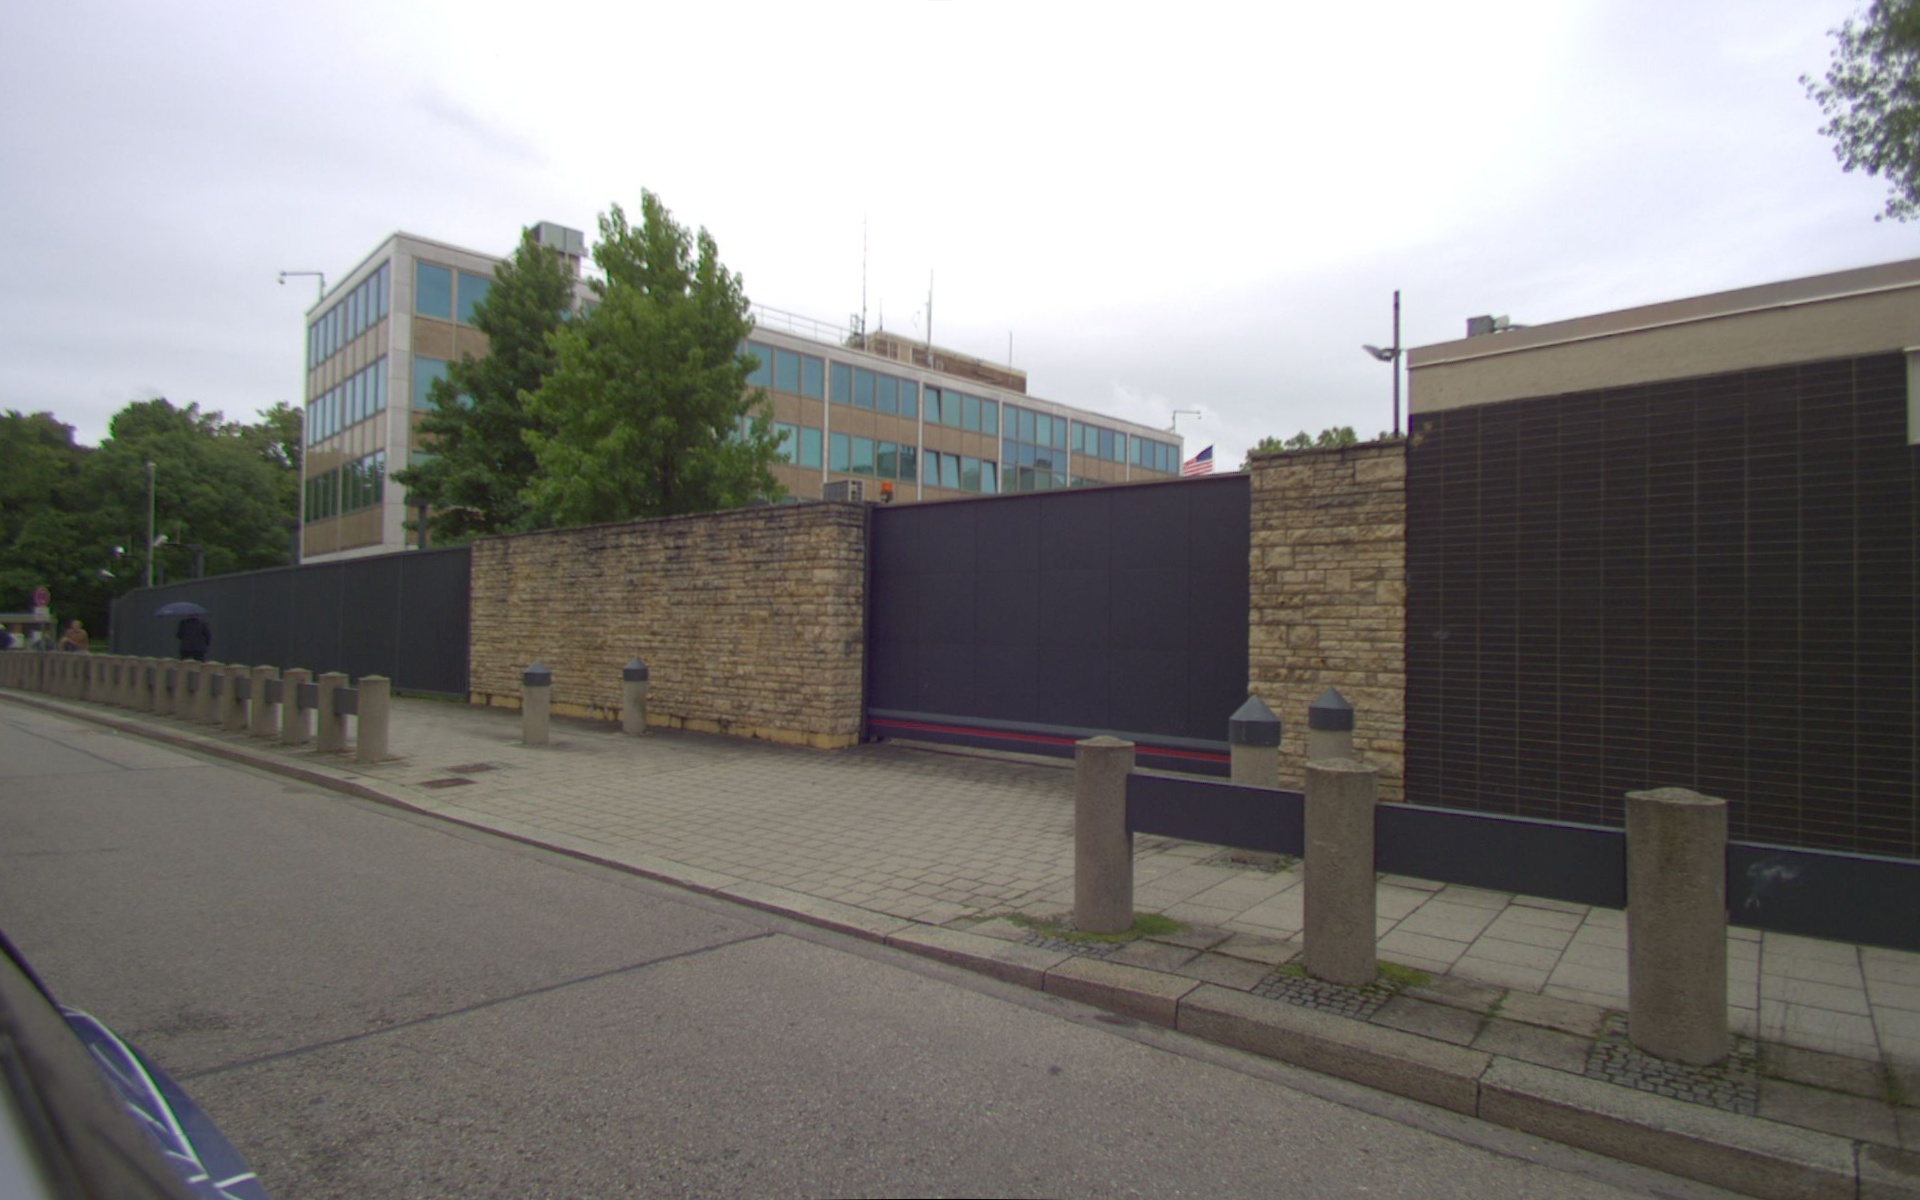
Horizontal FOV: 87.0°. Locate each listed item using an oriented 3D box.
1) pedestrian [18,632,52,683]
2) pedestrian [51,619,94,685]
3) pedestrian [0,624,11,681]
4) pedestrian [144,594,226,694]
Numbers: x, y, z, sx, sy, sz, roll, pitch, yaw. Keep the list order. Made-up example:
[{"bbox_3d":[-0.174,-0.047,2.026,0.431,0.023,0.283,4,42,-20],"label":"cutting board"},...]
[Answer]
[{"bbox_3d":[-28.864,1.786,31.595,0.768,1.551,0.934,0,-1,-43],"label":"pedestrian"},{"bbox_3d":[-23.992,1.395,27.355,0.906,1.736,0.815,-2,-1,44],"label":"pedestrian"},{"bbox_3d":[-30.174,1.643,31.622,0.766,1.782,0.618,-2,-3,39],"label":"pedestrian"},{"bbox_3d":[-17.208,0.975,22.482,1.116,2.120,1.210,-2,-3,41],"label":"pedestrian"}]
